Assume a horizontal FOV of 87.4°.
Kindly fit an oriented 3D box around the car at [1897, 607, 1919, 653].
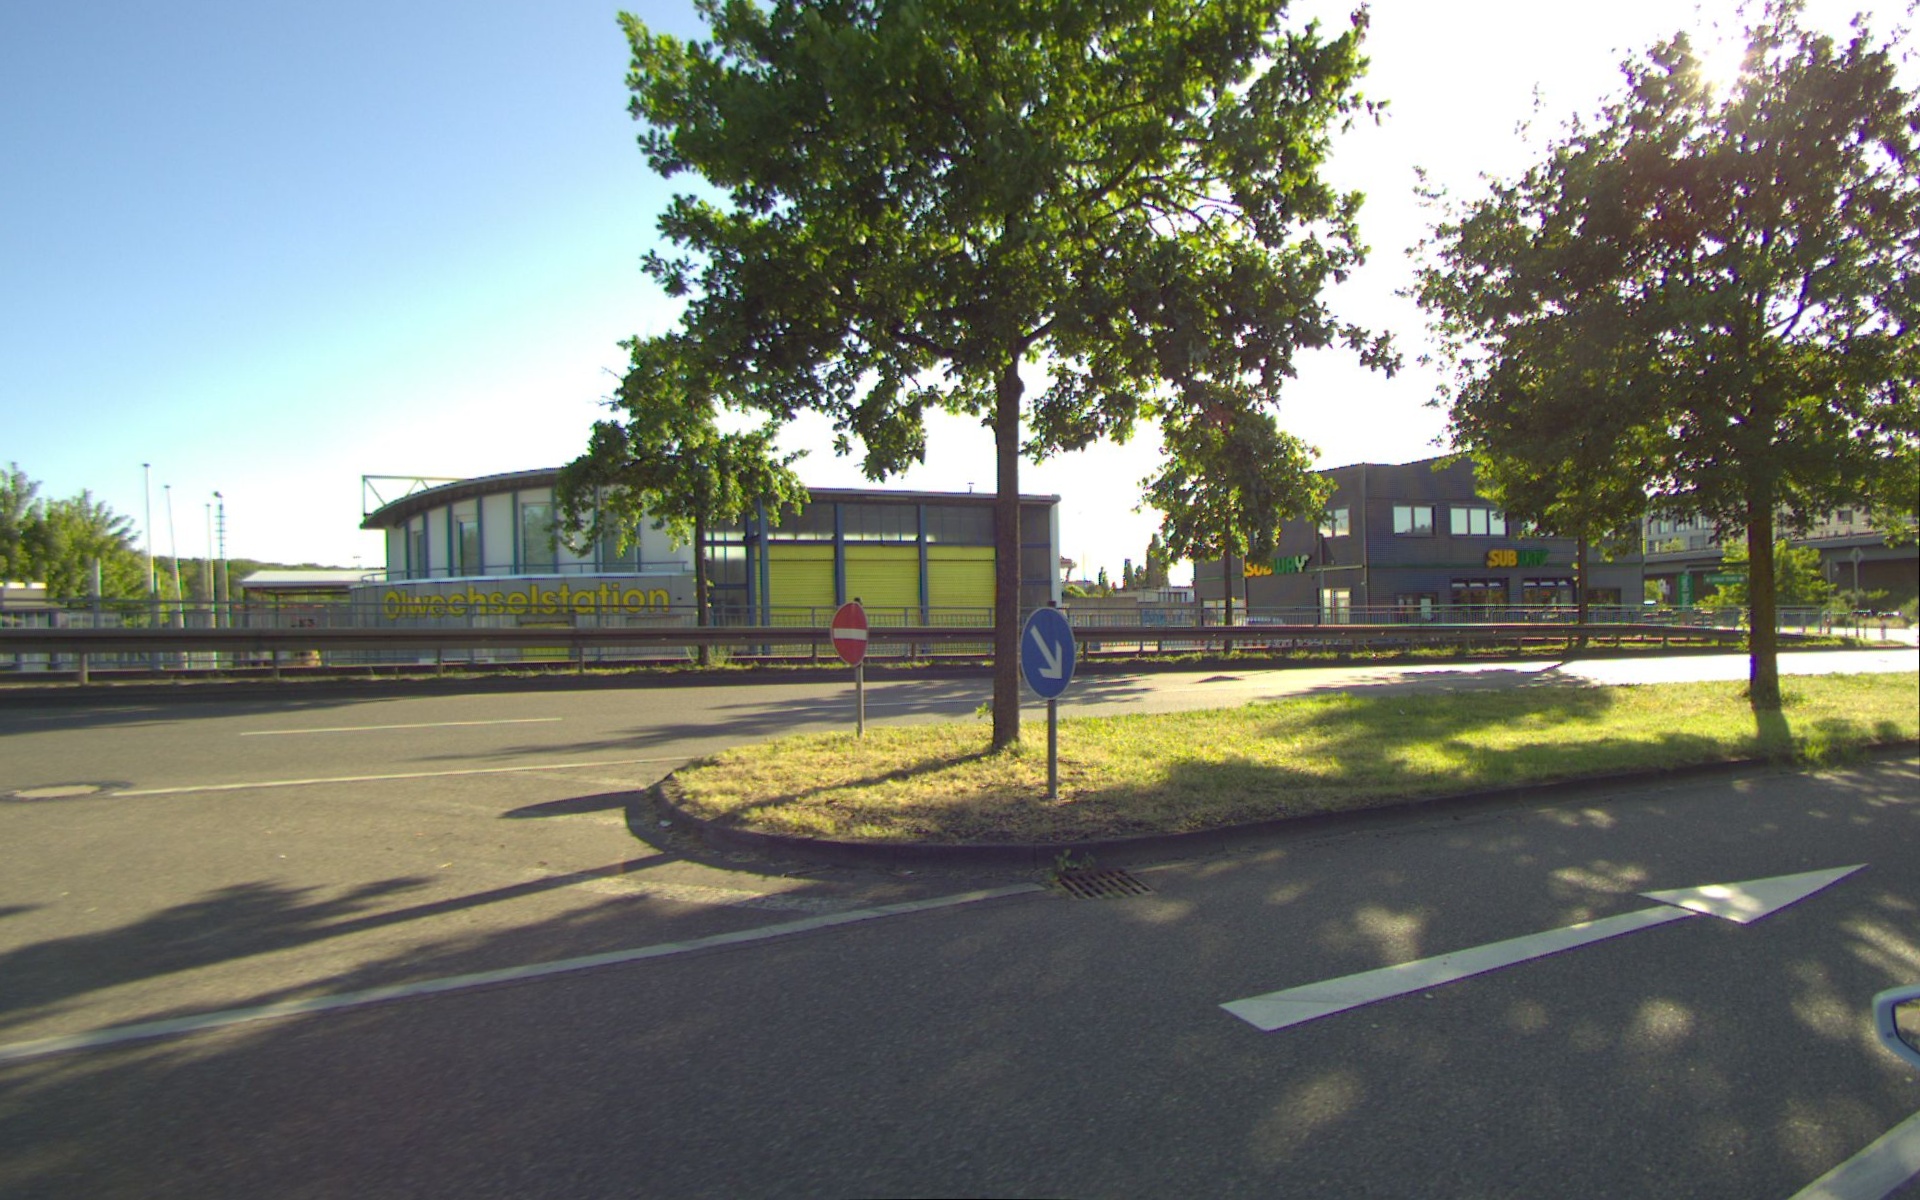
[{"bbox_3d":[30.051,0.890,29.445,4.541,1.328,1.799,0,0,-18],"label":"car"}]
